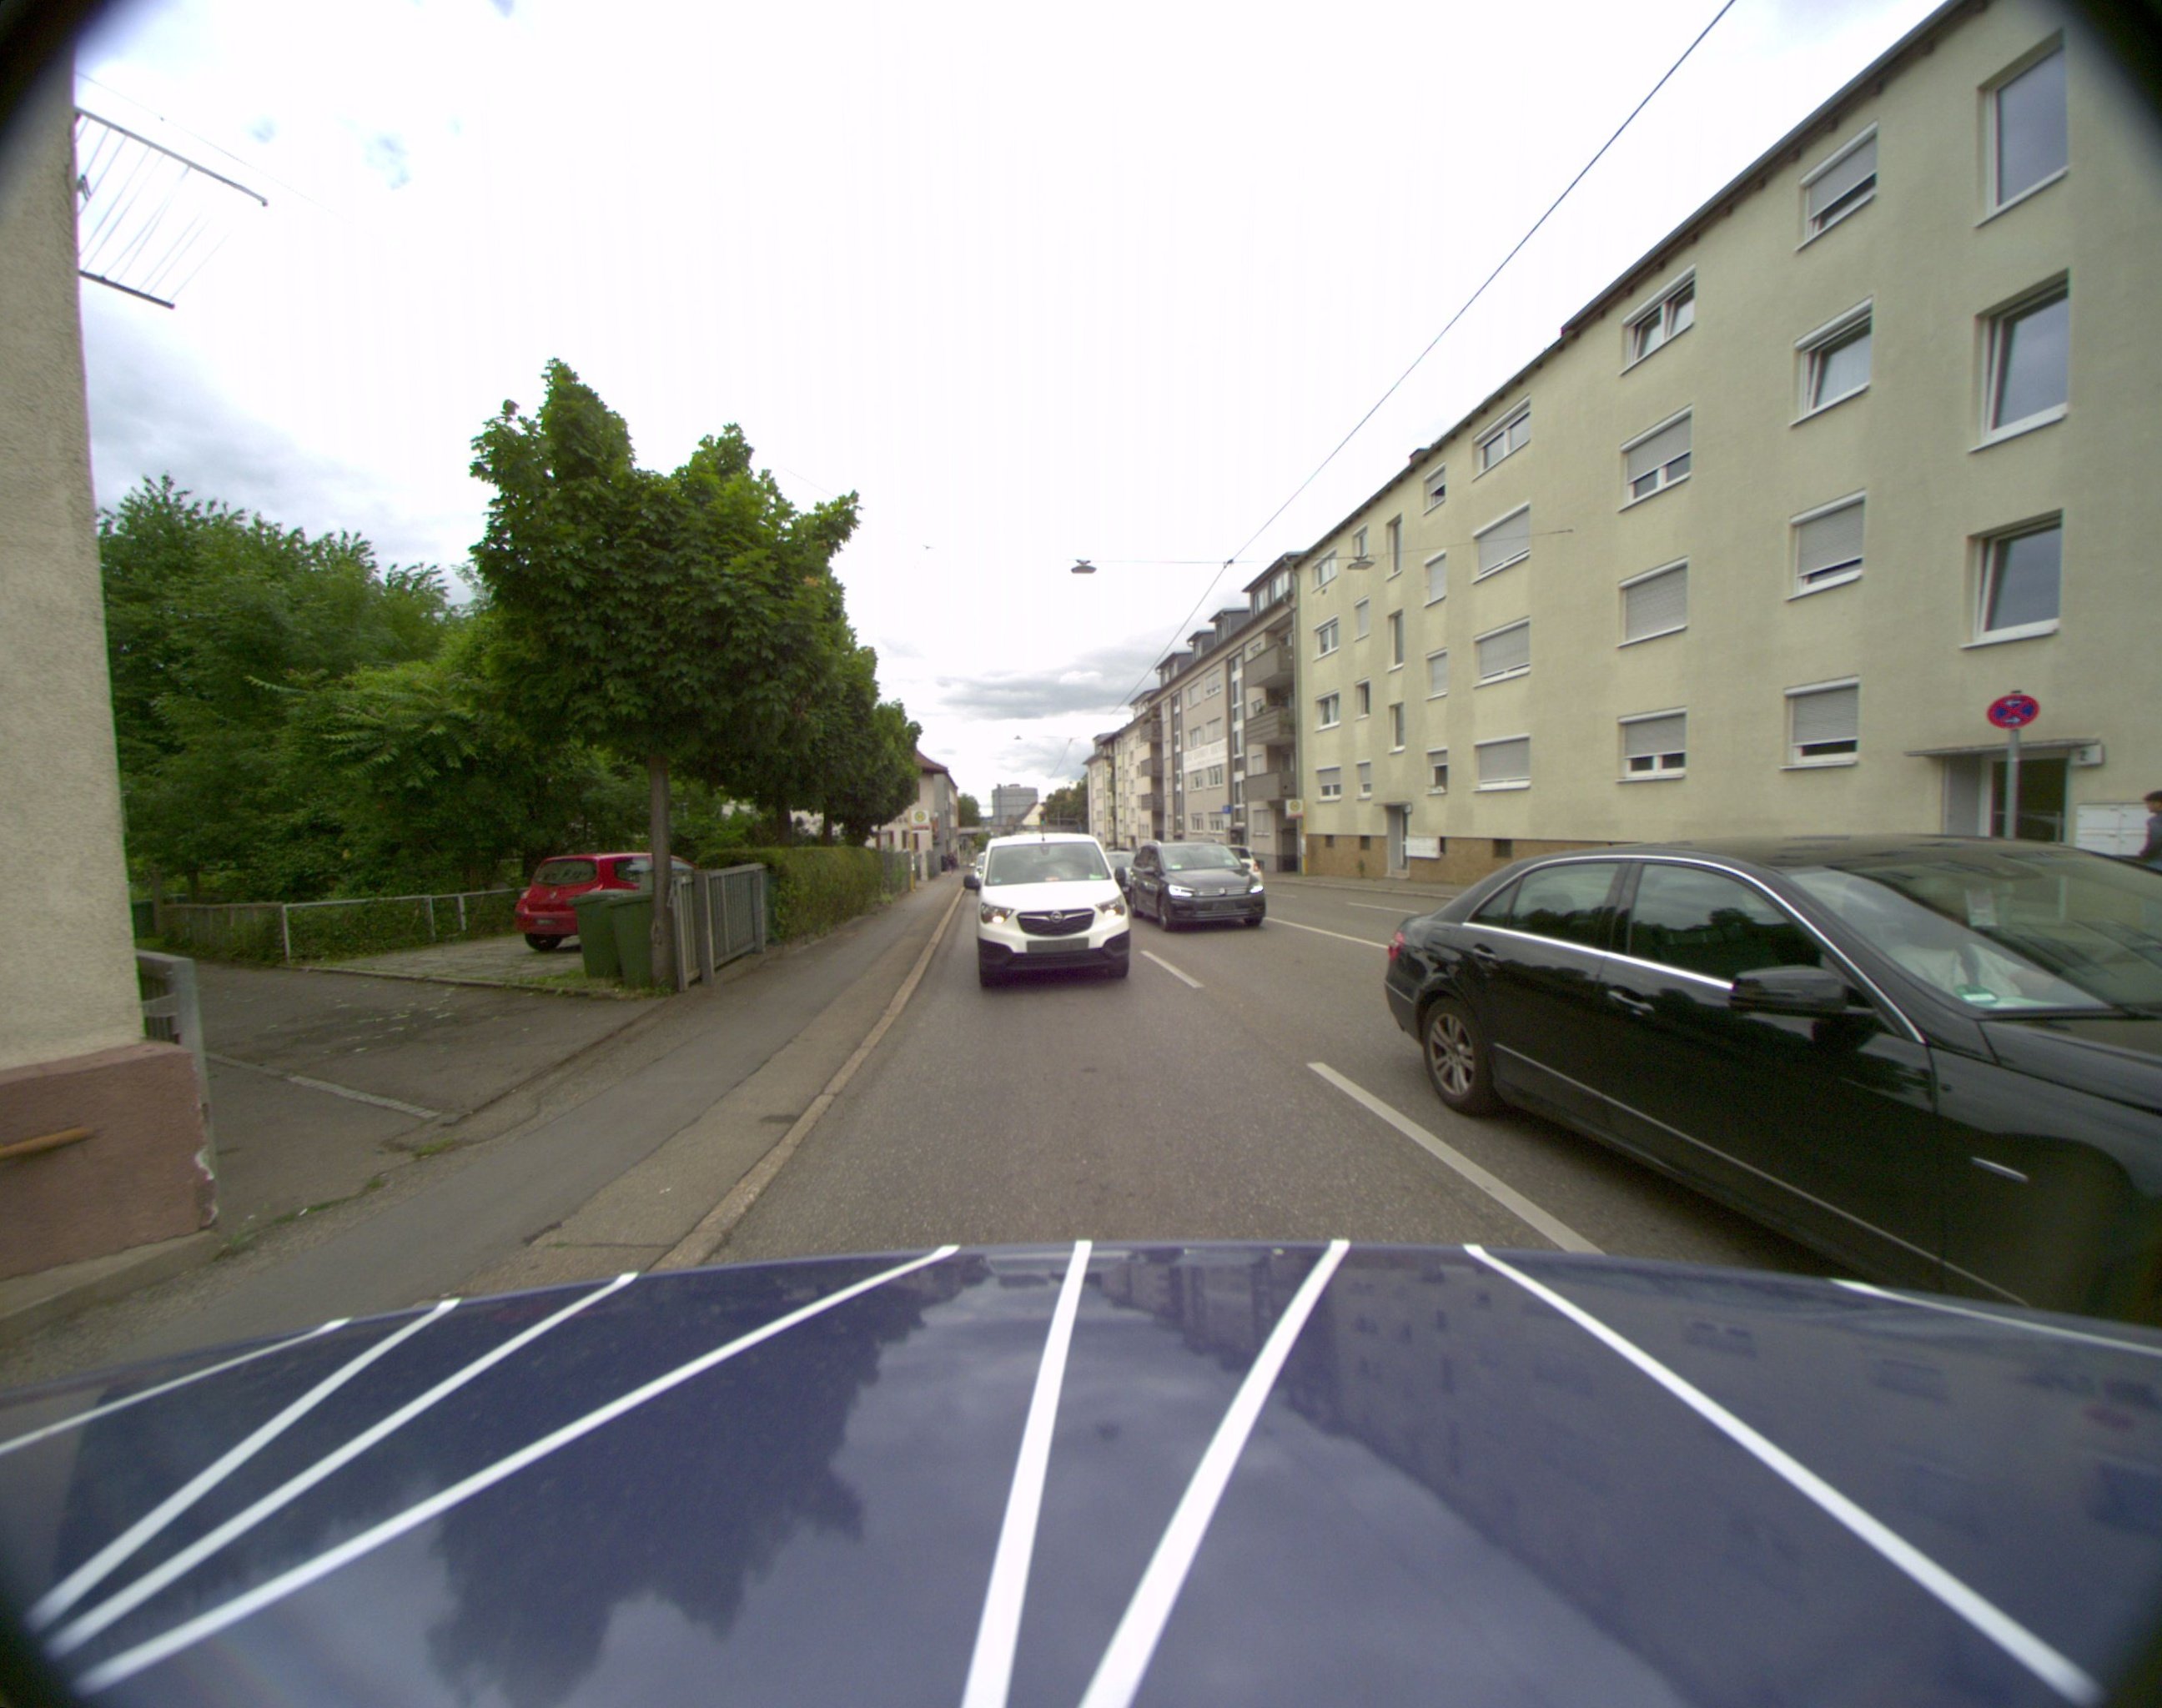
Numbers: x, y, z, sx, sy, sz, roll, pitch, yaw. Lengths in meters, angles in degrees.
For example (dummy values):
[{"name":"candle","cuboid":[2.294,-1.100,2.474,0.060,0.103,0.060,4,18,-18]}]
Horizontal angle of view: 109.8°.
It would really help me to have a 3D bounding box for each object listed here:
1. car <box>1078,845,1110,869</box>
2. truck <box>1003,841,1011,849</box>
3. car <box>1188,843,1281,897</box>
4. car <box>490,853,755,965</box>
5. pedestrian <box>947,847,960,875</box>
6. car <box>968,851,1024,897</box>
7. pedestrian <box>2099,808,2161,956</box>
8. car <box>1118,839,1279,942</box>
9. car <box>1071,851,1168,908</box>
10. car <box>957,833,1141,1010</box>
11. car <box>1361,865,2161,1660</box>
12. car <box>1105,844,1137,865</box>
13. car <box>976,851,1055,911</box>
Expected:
[{"name":"car","cuboid":[0.853,0.161,51.329,1.603,1.509,3.456,-1,1,-8]},{"name":"truck","cuboid":[-23.705,-2.859,242.916,2.548,2.522,5.490,-2,1,-6]},{"name":"car","cuboid":[4.563,0.433,23.072,1.603,1.439,3.527,-2,1,-8]},{"name":"car","cuboid":[-7.381,0.813,12.638,1.698,1.452,3.442,-3,2,16]},{"name":"pedestrian","cuboid":[-8.576,0.477,51.172,0.647,1.830,0.592,-2,1,3]},{"name":"car","cuboid":[-3.466,0.727,30.430,1.901,1.635,3.996,-2,1,-10]},{"name":"pedestrian","cuboid":[12.199,0.297,8.481,0.690,1.627,0.778,-2,1,-12]},{"name":"car","cuboid":[2.080,0.565,14.868,1.863,1.602,4.475,-3,1,-8]},{"name":"car","cuboid":[0.956,0.644,21.340,1.883,1.347,4.142,-2,1,-9]},{"name":"car","cuboid":[-0.526,0.663,10.418,1.863,1.772,4.708,-3,1,-5]},{"name":"car","cuboid":[3.015,0.821,2.740,1.999,1.420,4.841,-3,0,-3]},{"name":"car","cuboid":[3.113,0.049,60.323,1.776,1.592,3.536,-1,1,-10]},{"name":"car","cuboid":[-2.056,0.740,22.783,1.901,1.501,4.163,-4,0,-10]}]
